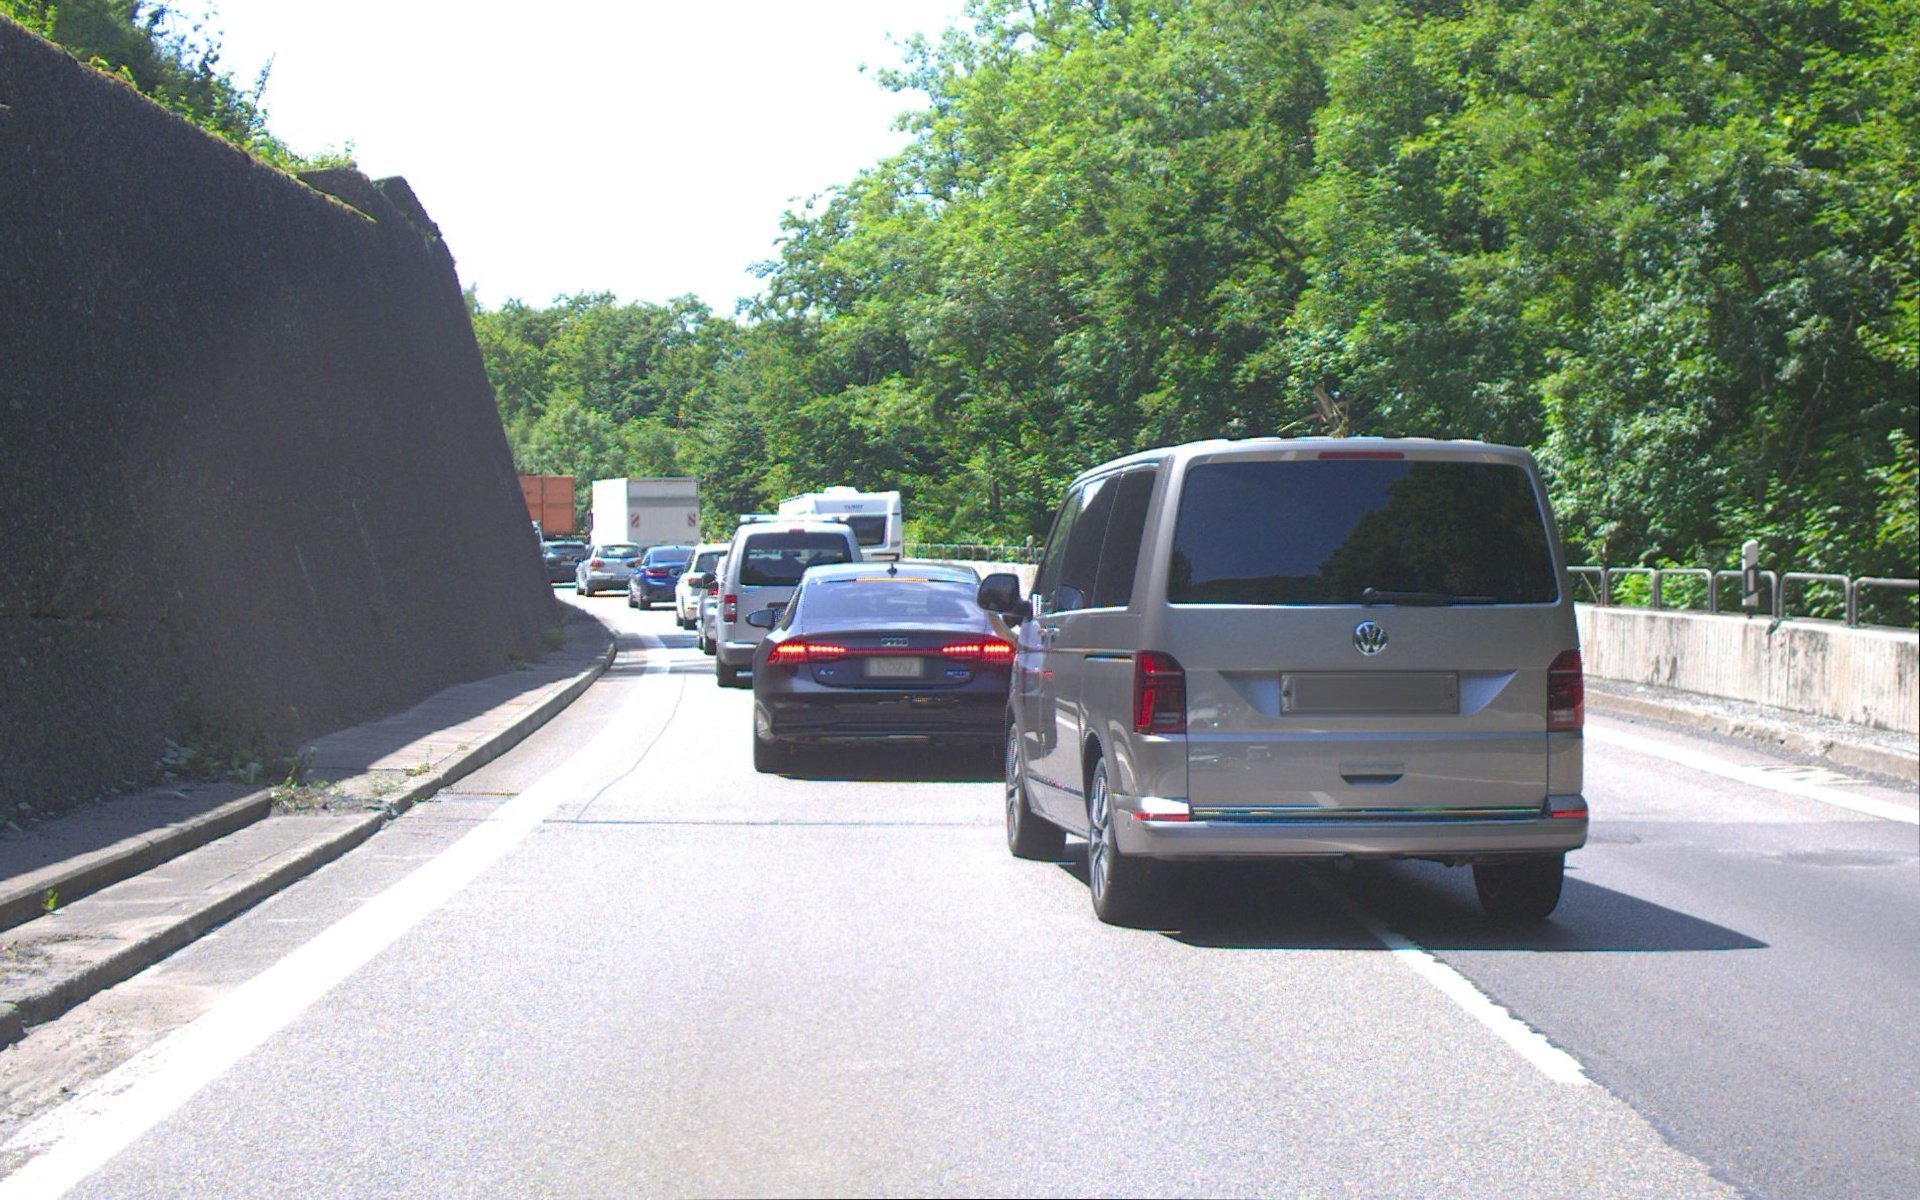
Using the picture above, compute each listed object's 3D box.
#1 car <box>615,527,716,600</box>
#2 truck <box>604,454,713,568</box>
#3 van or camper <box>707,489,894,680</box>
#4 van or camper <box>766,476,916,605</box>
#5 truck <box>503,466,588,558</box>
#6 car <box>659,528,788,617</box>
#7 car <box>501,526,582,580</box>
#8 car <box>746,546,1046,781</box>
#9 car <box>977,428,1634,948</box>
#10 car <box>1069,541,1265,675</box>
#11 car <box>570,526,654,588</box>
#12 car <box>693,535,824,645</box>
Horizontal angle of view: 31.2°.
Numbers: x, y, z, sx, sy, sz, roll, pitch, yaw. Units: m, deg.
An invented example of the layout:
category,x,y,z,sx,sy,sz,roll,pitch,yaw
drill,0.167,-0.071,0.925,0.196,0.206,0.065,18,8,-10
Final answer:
category,x,y,z,sx,sy,sz,roll,pitch,yaw
car,-6.769,-0.857,78.676,1.857,1.614,4.001,-1,1,-11
truck,-10.647,-3.124,120.664,2.924,3.674,7.727,4,1,-10
van or camper,-1.864,-0.205,38.919,1.853,1.935,4.166,4,1,-5
van or camper,-2.927,-1.452,82.737,2.603,2.845,6.337,4,1,-10
truck,-17.197,-3.624,142.421,3.163,3.456,8.224,4,1,-8
car,-4.393,-0.523,63.298,1.894,1.579,3.772,0,1,-11
car,-12.858,-1.463,105.428,1.750,1.565,3.772,1,1,-18
car,-0.488,0.375,24.302,1.904,1.484,4.379,1,1,-2
car,1.317,0.290,15.242,1.940,1.924,4.695,1,1,-6
car,2.528,0.059,42.975,1.808,1.472,4.082,4,1,-4
car,-9.503,-1.188,93.597,1.993,1.612,4.001,1,1,-9
car,-2.982,-0.180,50.294,1.771,1.467,4.001,2,1,-4
